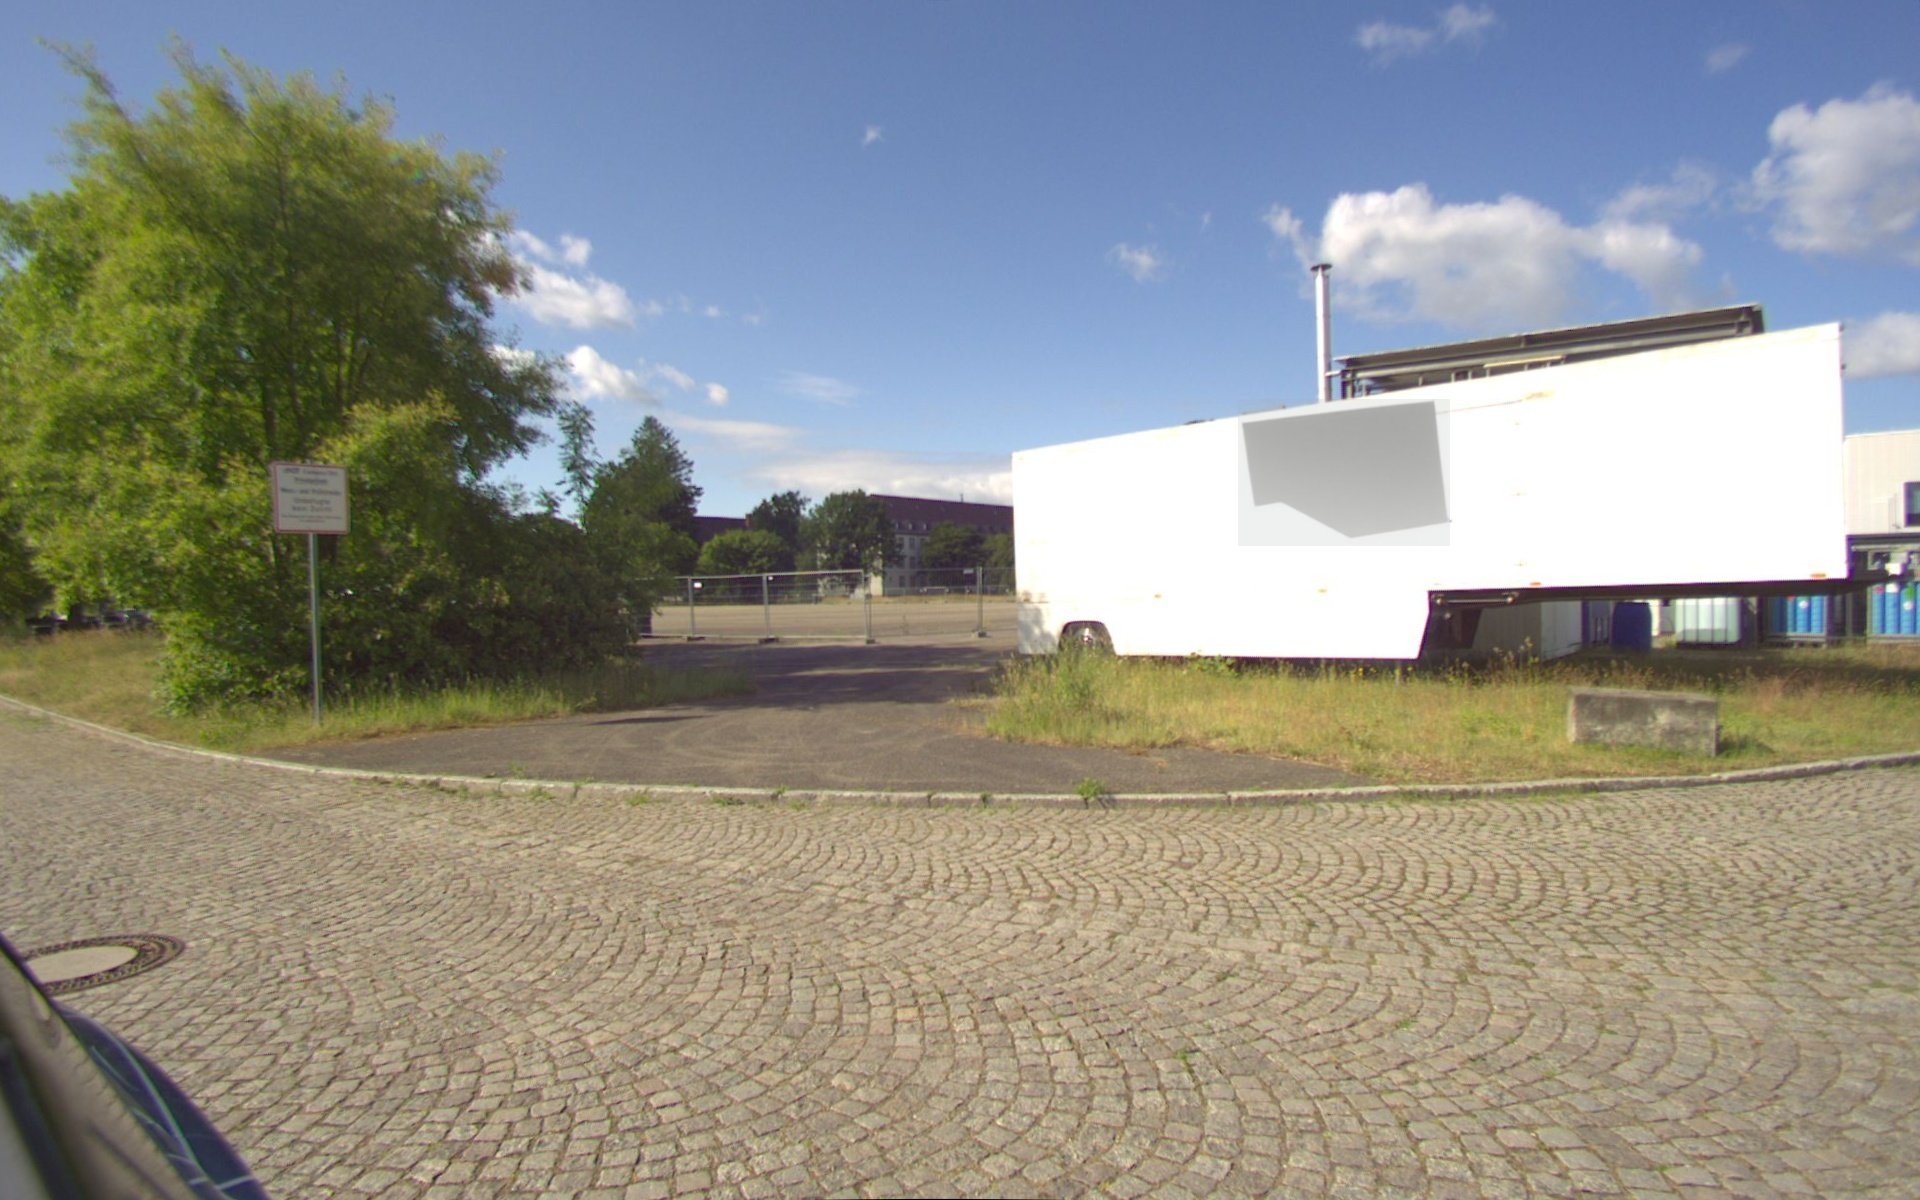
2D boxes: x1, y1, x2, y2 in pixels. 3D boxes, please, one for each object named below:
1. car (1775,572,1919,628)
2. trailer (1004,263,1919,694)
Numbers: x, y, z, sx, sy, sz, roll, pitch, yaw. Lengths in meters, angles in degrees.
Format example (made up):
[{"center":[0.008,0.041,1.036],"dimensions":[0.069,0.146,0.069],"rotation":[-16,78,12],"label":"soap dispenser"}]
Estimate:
[{"center":[23.535,0.013,26.371],"dimensions":[3.467,1.386,1.591],"rotation":[-1,0,37],"label":"car"},{"center":[5.694,-1.058,13.887],"dimensions":[10.883,3.940,2.743],"rotation":[-1,0,42],"label":"trailer"}]
